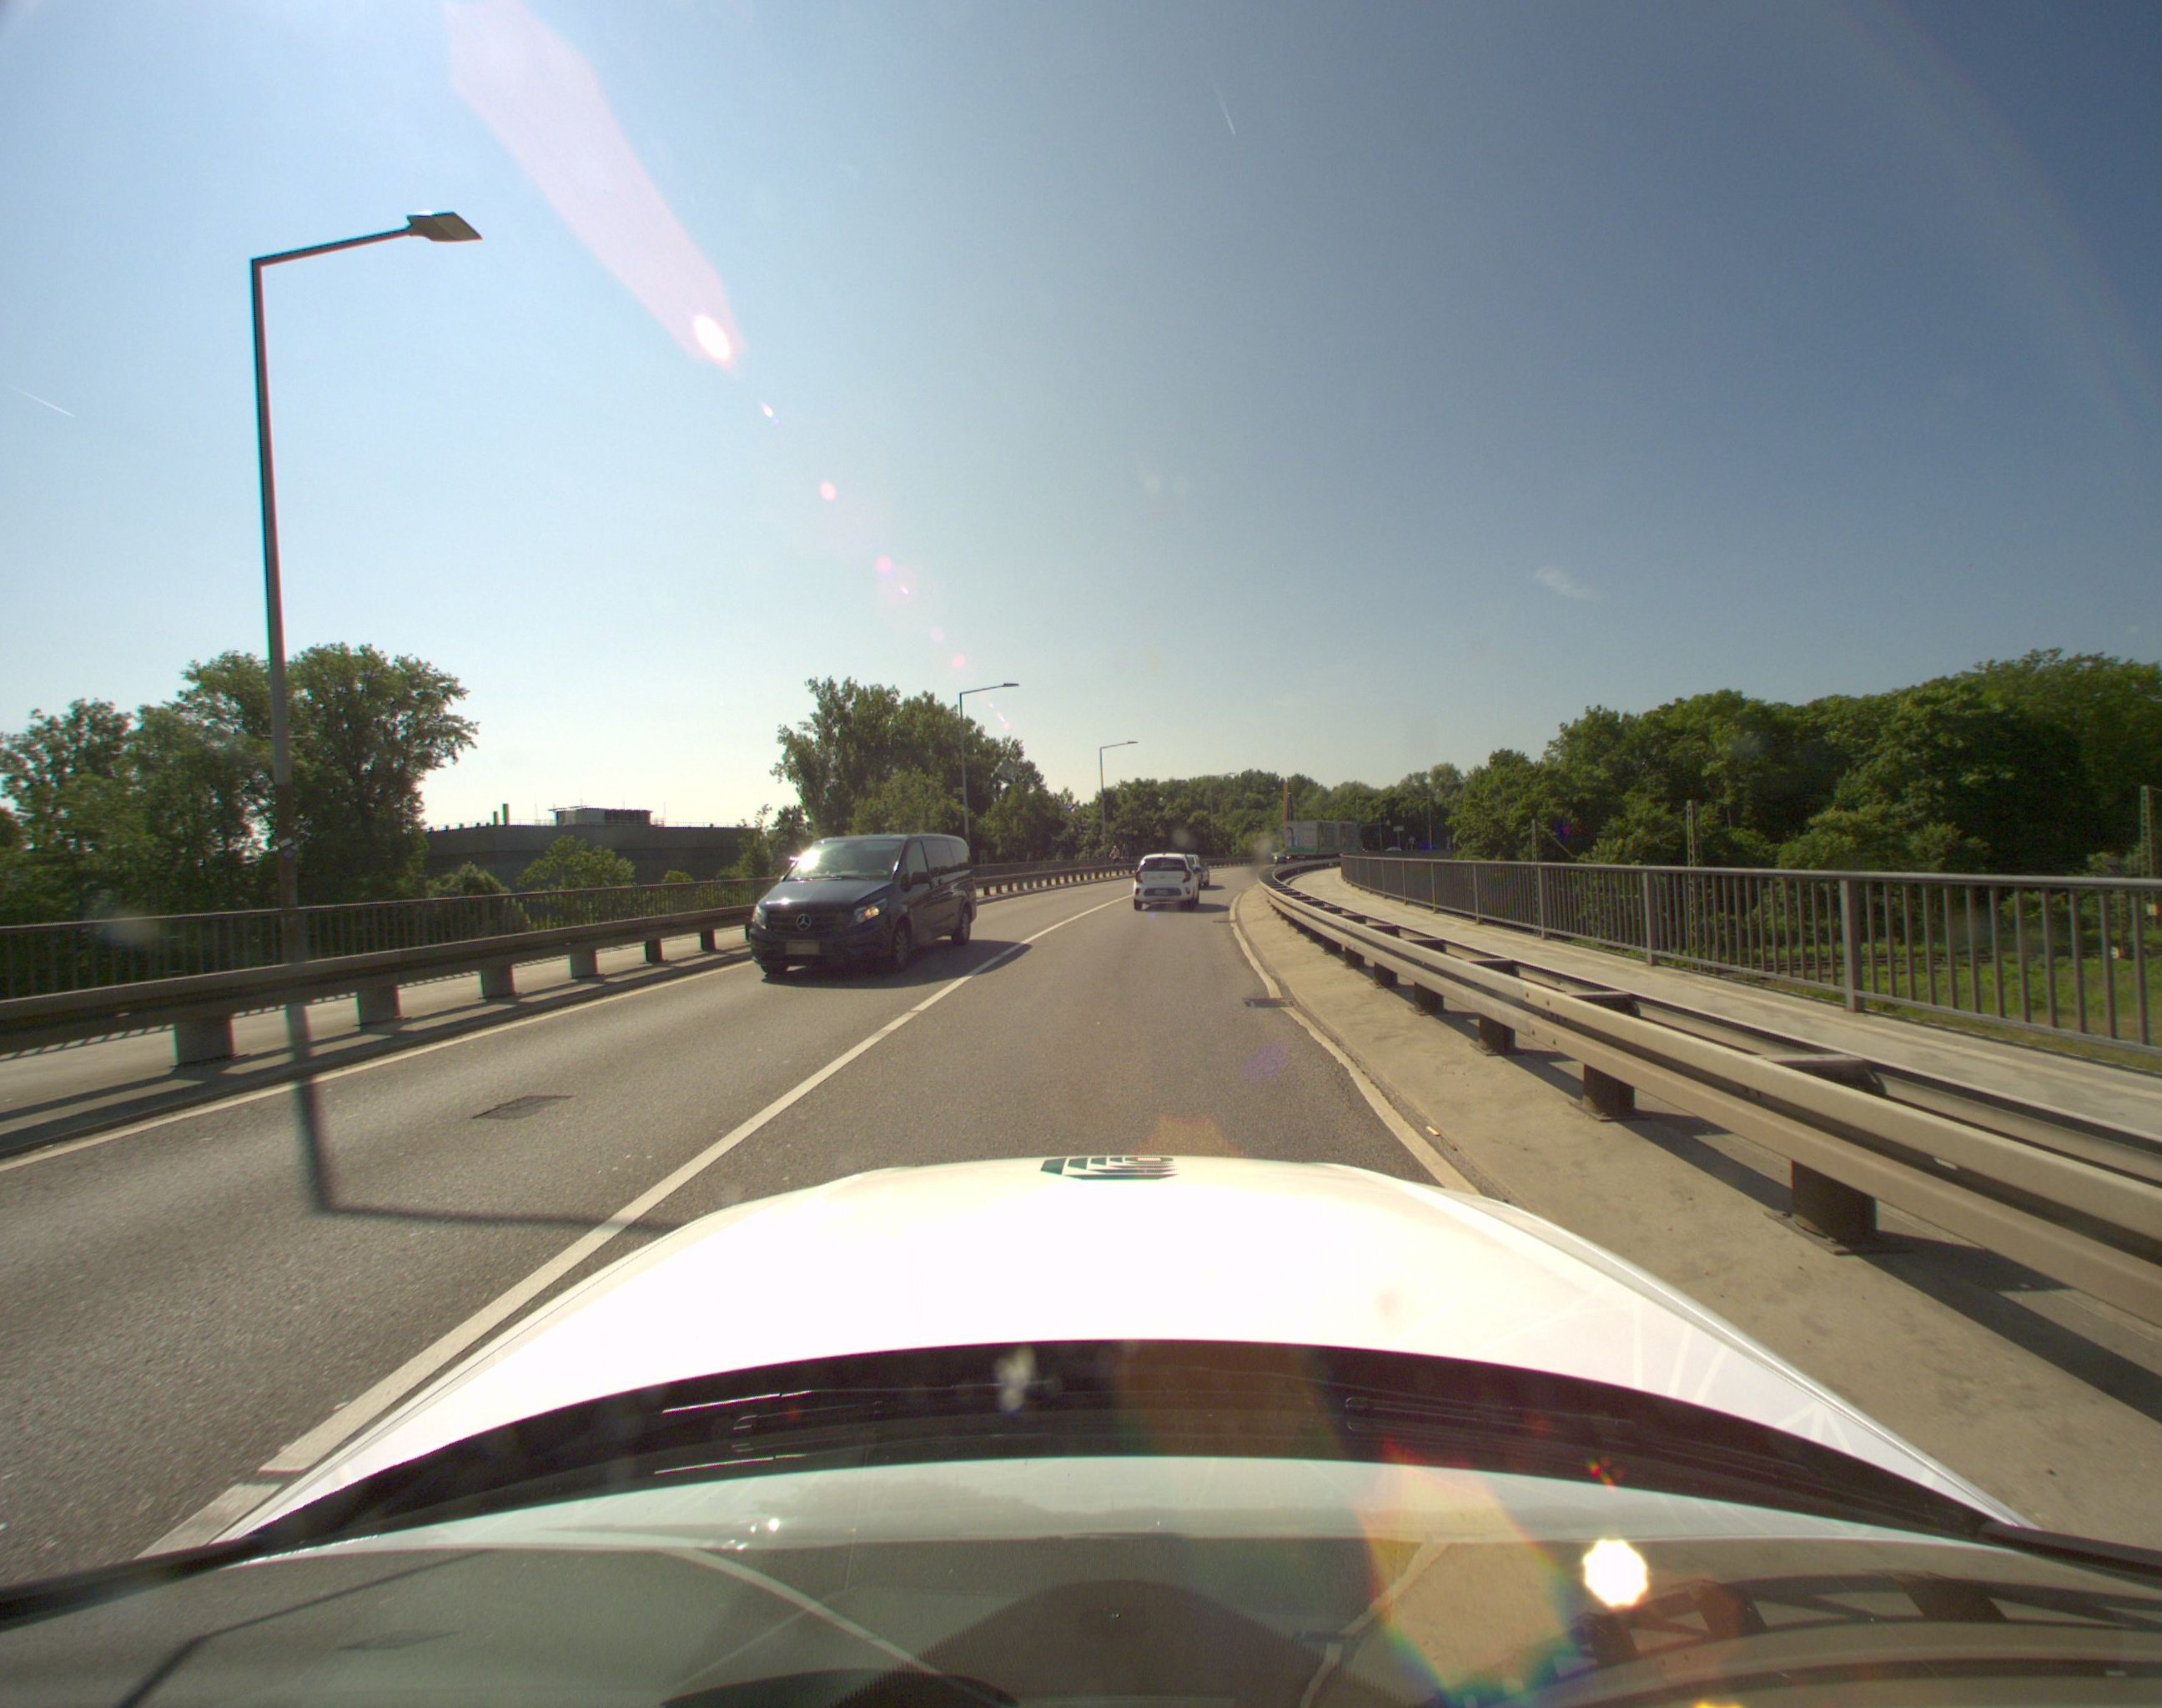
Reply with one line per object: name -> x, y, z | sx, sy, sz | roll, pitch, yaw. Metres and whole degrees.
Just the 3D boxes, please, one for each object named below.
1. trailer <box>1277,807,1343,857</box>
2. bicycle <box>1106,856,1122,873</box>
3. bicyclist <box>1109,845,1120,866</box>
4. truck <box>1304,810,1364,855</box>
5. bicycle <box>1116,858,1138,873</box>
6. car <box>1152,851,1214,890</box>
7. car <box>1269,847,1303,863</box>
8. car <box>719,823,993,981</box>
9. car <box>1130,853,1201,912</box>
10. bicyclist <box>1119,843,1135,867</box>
trailer -> 18.468, -1.728, 65.188 | 3.194, 3.757, 7.874 | 1, 2, 30
bicycle -> 2.200, 0.665, 53.662 | 0.569, 1.046, 1.718 | -3, 0, 18
bicyclist -> 2.204, 0.113, 53.583 | 0.484, 1.329, 0.951 | -1, -1, 17
truck -> 22.474, -1.877, 72.094 | 3.229, 3.757, 8.423 | 1, 2, 30
bicycle -> 2.975, 0.716, 52.184 | 0.921, 0.891, 1.977 | -1, 1, 18
car -> 4.412, 0.648, 34.575 | 1.924, 1.486, 4.920 | 0, 0, 15
car -> 20.210, 0.111, 80.055 | 1.800, 1.430, 4.895 | -2, 0, 32
car -> -3.043, 0.584, 12.736 | 2.065, 1.888, 5.925 | 0, 0, 6
car -> 2.445, 0.737, 22.868 | 1.691, 1.494, 4.011 | 0, 0, 10
bicyclist -> 2.952, 0.081, 52.221 | 0.654, 1.496, 1.022 | 0, 2, 23
